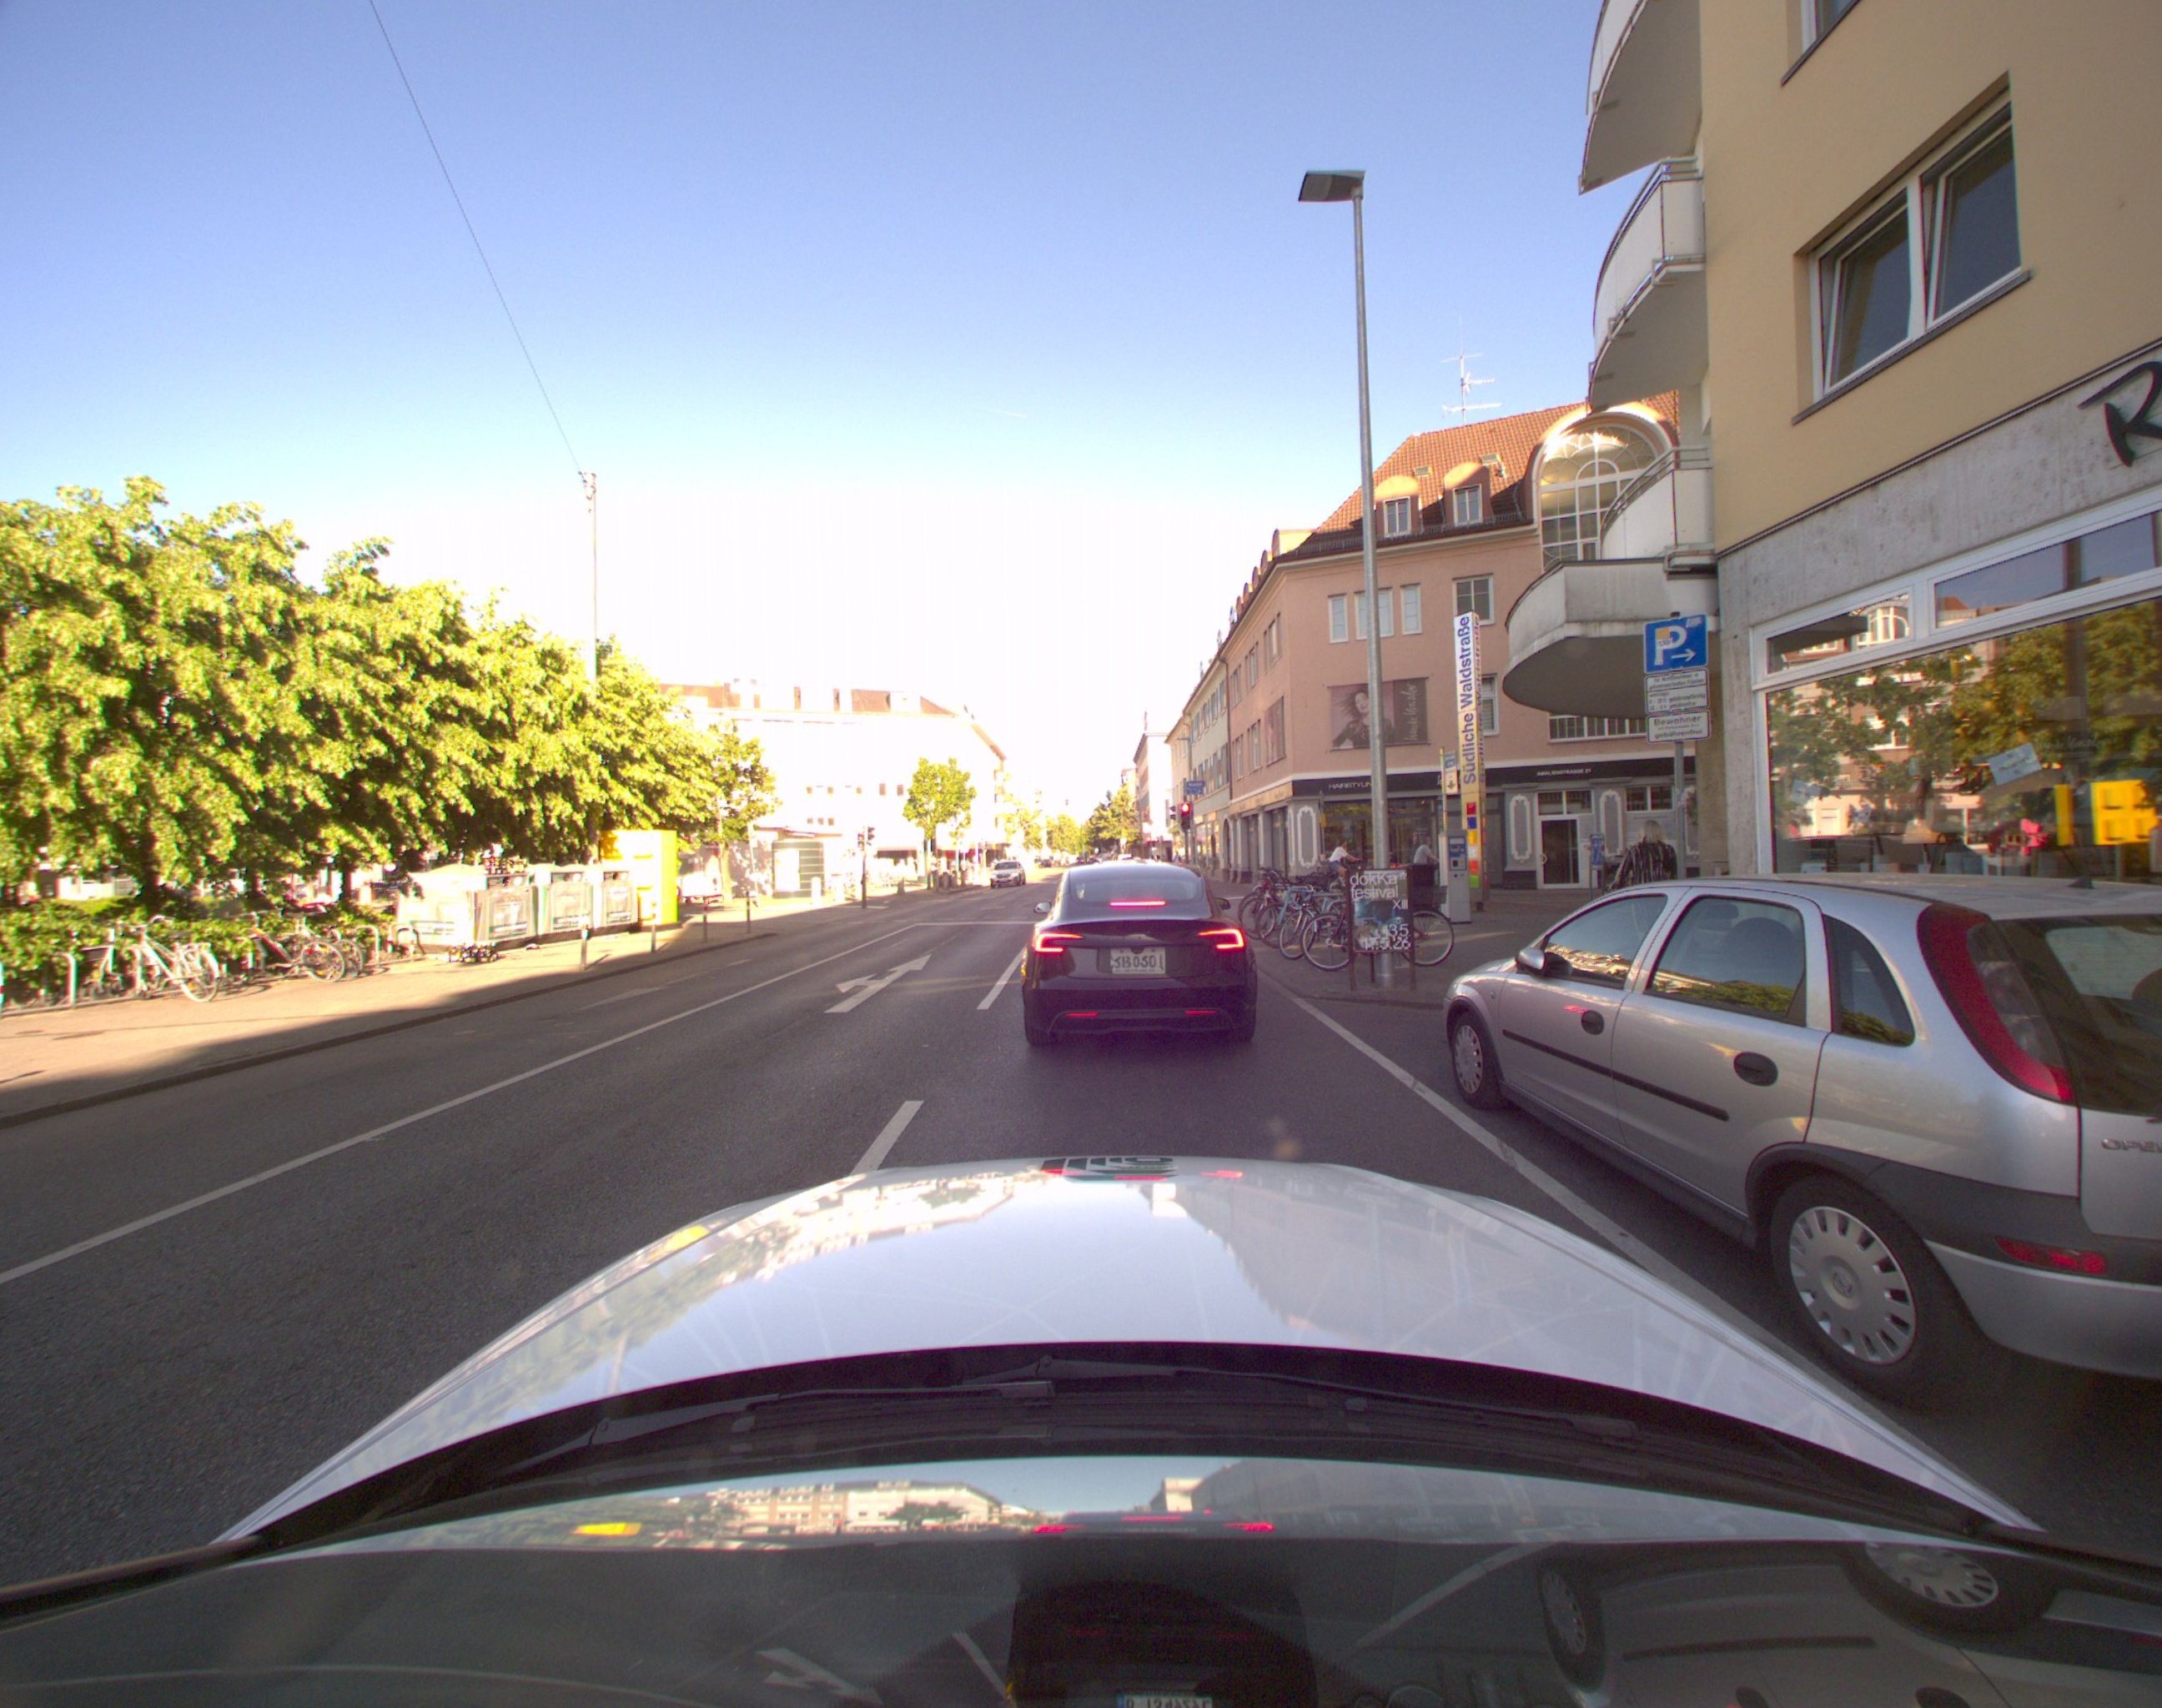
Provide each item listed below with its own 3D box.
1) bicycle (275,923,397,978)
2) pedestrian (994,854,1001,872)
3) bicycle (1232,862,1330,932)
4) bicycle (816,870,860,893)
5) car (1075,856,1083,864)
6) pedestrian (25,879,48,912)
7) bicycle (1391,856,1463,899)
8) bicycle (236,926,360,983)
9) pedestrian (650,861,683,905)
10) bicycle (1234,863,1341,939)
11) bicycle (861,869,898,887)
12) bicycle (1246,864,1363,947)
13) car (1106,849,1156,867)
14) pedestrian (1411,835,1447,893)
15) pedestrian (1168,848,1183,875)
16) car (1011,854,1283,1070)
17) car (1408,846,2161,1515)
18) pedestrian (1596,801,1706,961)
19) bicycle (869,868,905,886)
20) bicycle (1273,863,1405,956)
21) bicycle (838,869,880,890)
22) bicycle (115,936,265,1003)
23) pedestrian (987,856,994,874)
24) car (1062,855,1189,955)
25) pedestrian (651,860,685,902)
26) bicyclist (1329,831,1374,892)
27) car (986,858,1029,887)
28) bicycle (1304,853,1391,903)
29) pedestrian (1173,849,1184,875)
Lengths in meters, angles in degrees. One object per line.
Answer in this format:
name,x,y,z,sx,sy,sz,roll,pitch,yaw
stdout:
bicycle,-11.255,1.449,12.326,1.466,0.769,0.475,-1,-1,4
pedestrian,-9.218,0.983,89.880,0.623,2.014,0.575,-1,0,1
bicycle,3.617,0.767,14.802,1.621,1.160,0.433,-3,0,2
bicycle,-12.856,1.451,43.133,2.075,1.104,0.806,-1,0,1
car,-0.362,1.339,187.406,1.824,1.724,4.000,-1,0,0
pedestrian,-57.323,2.264,44.703,0.576,1.792,0.604,-1,-1,19
bicycle,8.764,0.594,20.668,1.604,1.045,0.593,-1,-1,14
bicycle,-11.311,1.453,11.780,1.465,0.769,0.442,-1,-1,6
pedestrian,-16.587,1.153,32.599,0.897,1.725,0.745,-1,0,5
bicycle,3.441,0.778,13.606,1.622,1.160,0.433,-3,0,0
bicycle,-12.486,1.483,50.424,2.075,1.104,0.806,-1,0,1
bicycle,3.424,0.777,12.517,1.622,1.160,0.433,-3,0,0
car,5.089,0.447,82.533,4.594,1.727,2.070,-1,0,30
pedestrian,8.817,0.248,20.662,0.738,1.440,0.584,-1,-1,14
pedestrian,6.585,0.495,56.740,0.995,1.850,0.615,-1,0,1
car,0.538,0.751,7.519,1.842,1.455,3.788,-1,0,2
car,2.985,0.688,3.650,1.615,1.394,3.888,-1,0,3
pedestrian,6.159,0.288,8.833,0.659,1.633,0.629,-4,-1,6
bicycle,-12.529,1.454,52.621,2.075,1.104,0.806,-1,0,1
bicycle,3.548,0.758,11.245,1.622,1.160,0.433,-3,0,0
bicycle,-12.439,1.442,45.645,2.075,1.104,0.806,-1,0,1
bicycle,-11.313,1.447,10.343,1.645,0.769,0.476,-1,-1,10
pedestrian,-10.011,1.179,89.913,0.623,2.014,0.707,-1,0,1
car,0.743,0.758,13.935,1.842,1.455,3.788,-1,0,2
pedestrian,-16.611,1.079,32.769,0.981,1.636,0.738,-1,0,5
bicyclist,7.262,0.193,21.855,1.088,1.589,0.631,-1,0,18
car,-4.456,1.095,49.877,1.986,1.541,4.002,-5,0,2
bicycle,7.147,0.650,21.880,2.108,1.200,0.631,-4,-1,17
pedestrian,6.805,0.539,56.670,0.701,1.783,0.534,-1,0,1
